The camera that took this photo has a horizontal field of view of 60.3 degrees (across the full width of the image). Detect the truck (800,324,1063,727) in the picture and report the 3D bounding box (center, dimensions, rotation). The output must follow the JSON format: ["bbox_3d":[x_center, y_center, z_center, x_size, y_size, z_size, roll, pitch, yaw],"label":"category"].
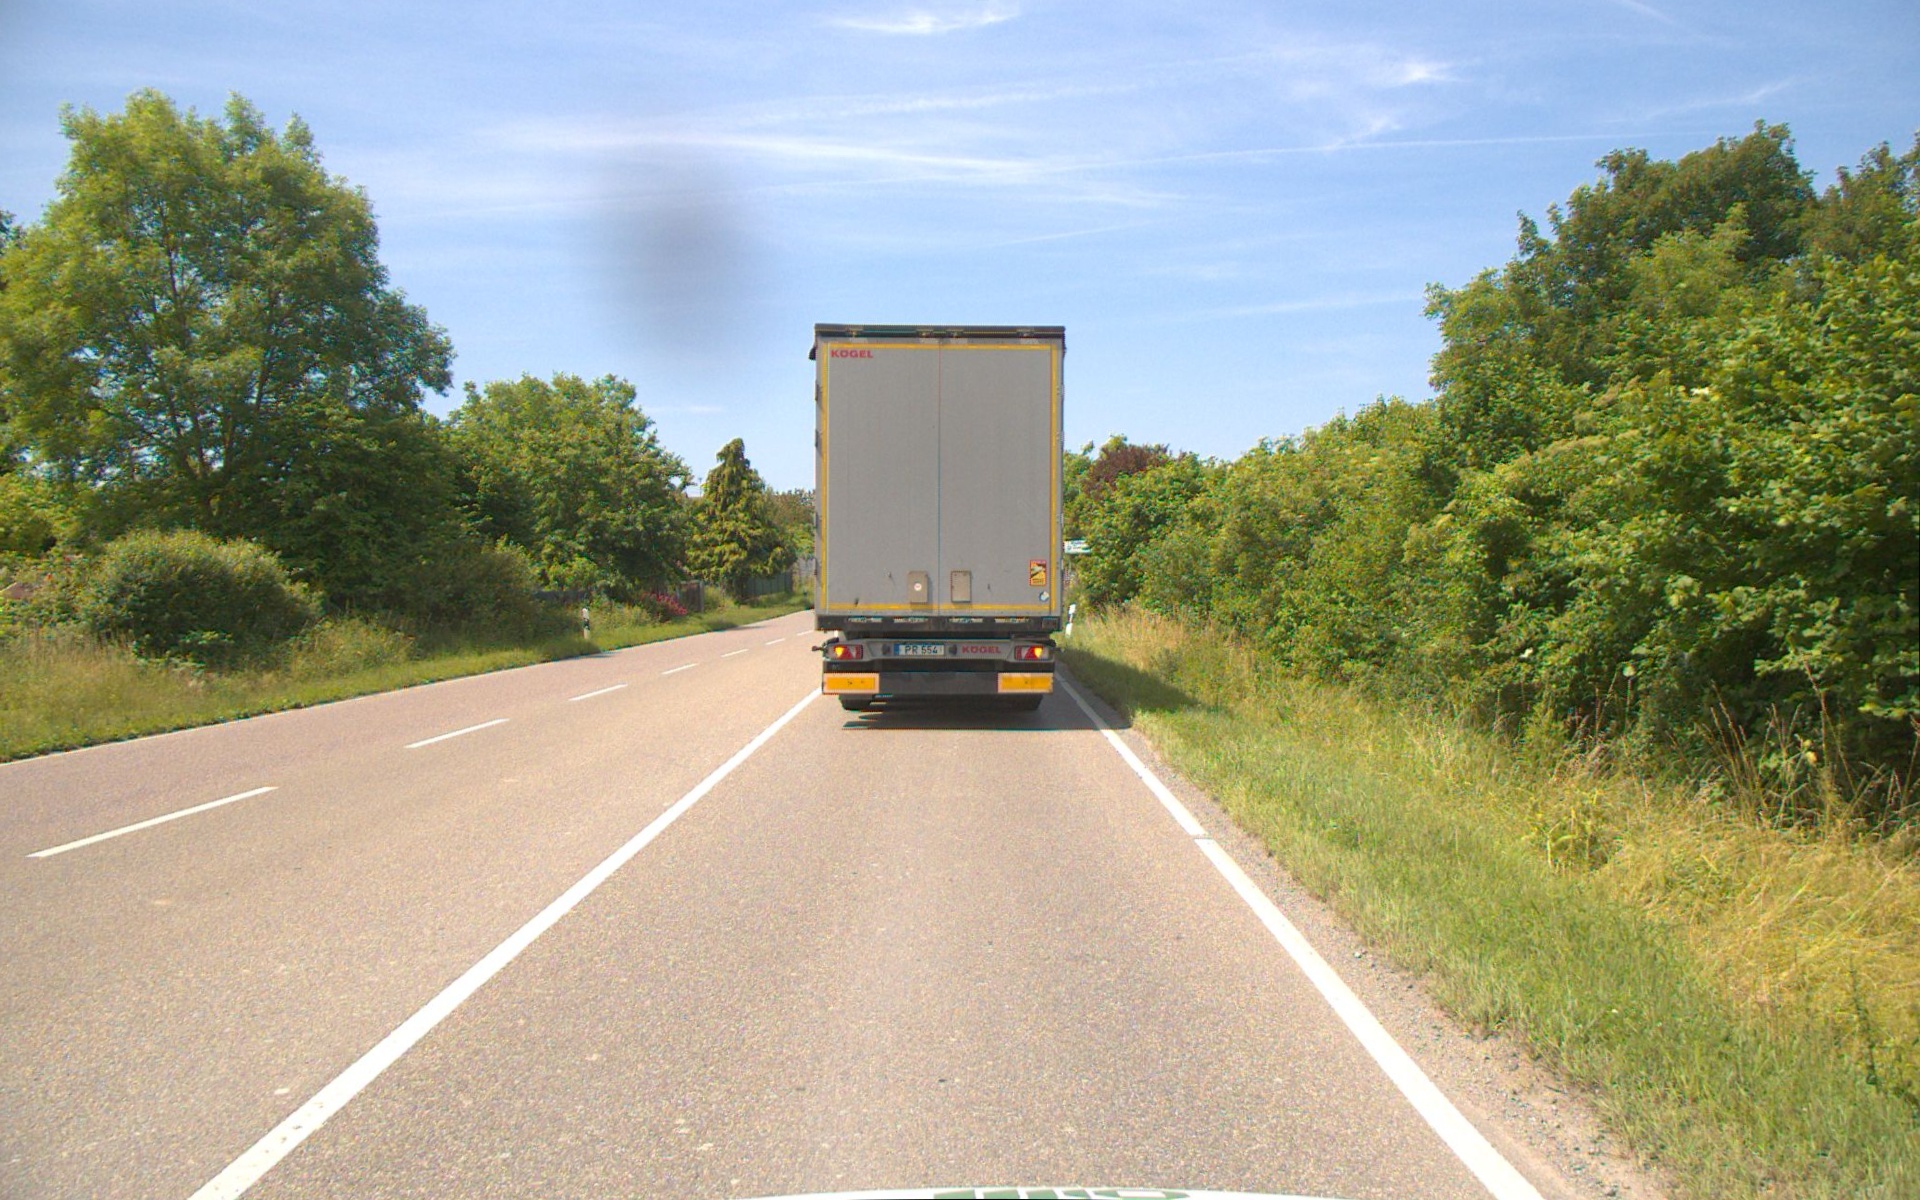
[{"bbox_3d":[-0.326,-0.784,20.822,2.593,3.985,8.824,0,1,-1],"label":"truck"}]
